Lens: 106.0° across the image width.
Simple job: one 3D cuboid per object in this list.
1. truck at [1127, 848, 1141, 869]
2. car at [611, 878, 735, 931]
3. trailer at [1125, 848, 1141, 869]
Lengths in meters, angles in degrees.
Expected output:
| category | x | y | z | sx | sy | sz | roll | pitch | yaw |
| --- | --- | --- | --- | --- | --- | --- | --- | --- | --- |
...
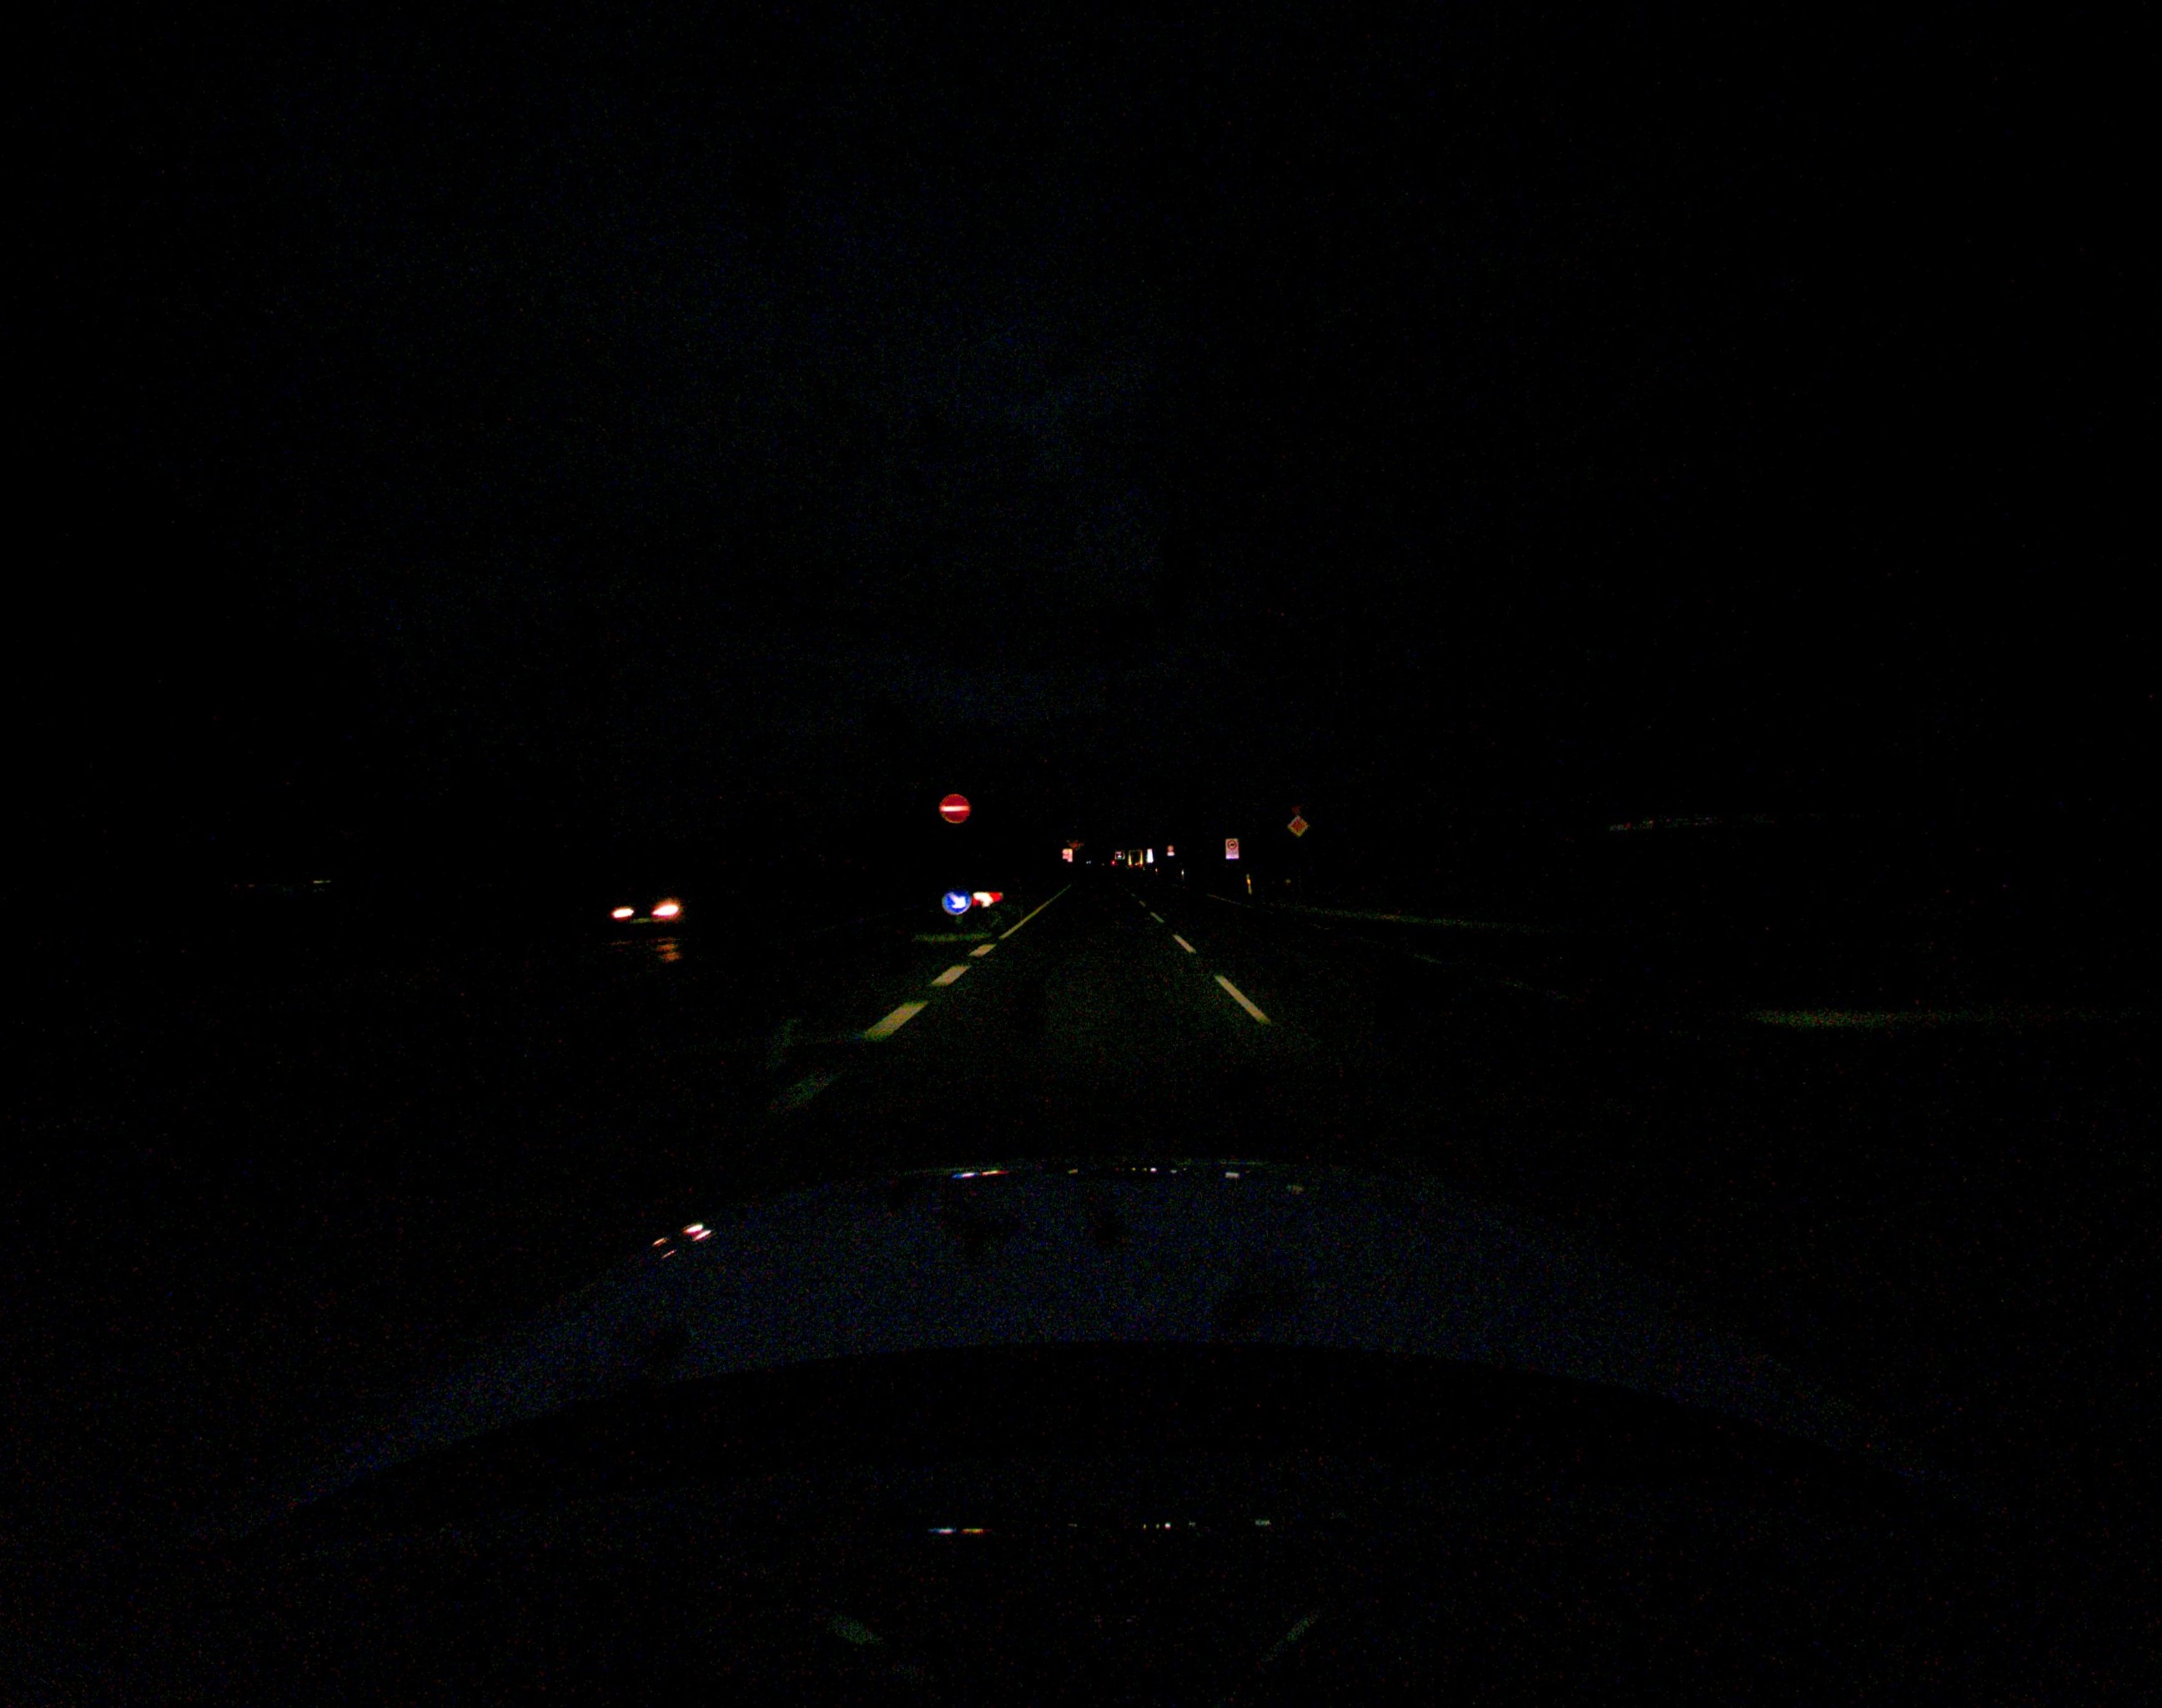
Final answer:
| category | x | y | z | sx | sy | sz | roll | pitch | yaw |
| --- | --- | --- | --- | --- | --- | --- | --- | --- | --- |
| truck | 10.239 | 0.859 | 156.909 | 2.569 | 4.071 | 6.133 | 0 | 0 | 2 |
| car | -12.042 | 1.446 | 24.339 | 1.646 | 1.384 | 4.029 | 0 | -1 | 0 |
| trailer | 10.421 | 0.924 | 164.231 | 2.613 | 4.104 | 12.939 | -2 | -1 | 1 |
